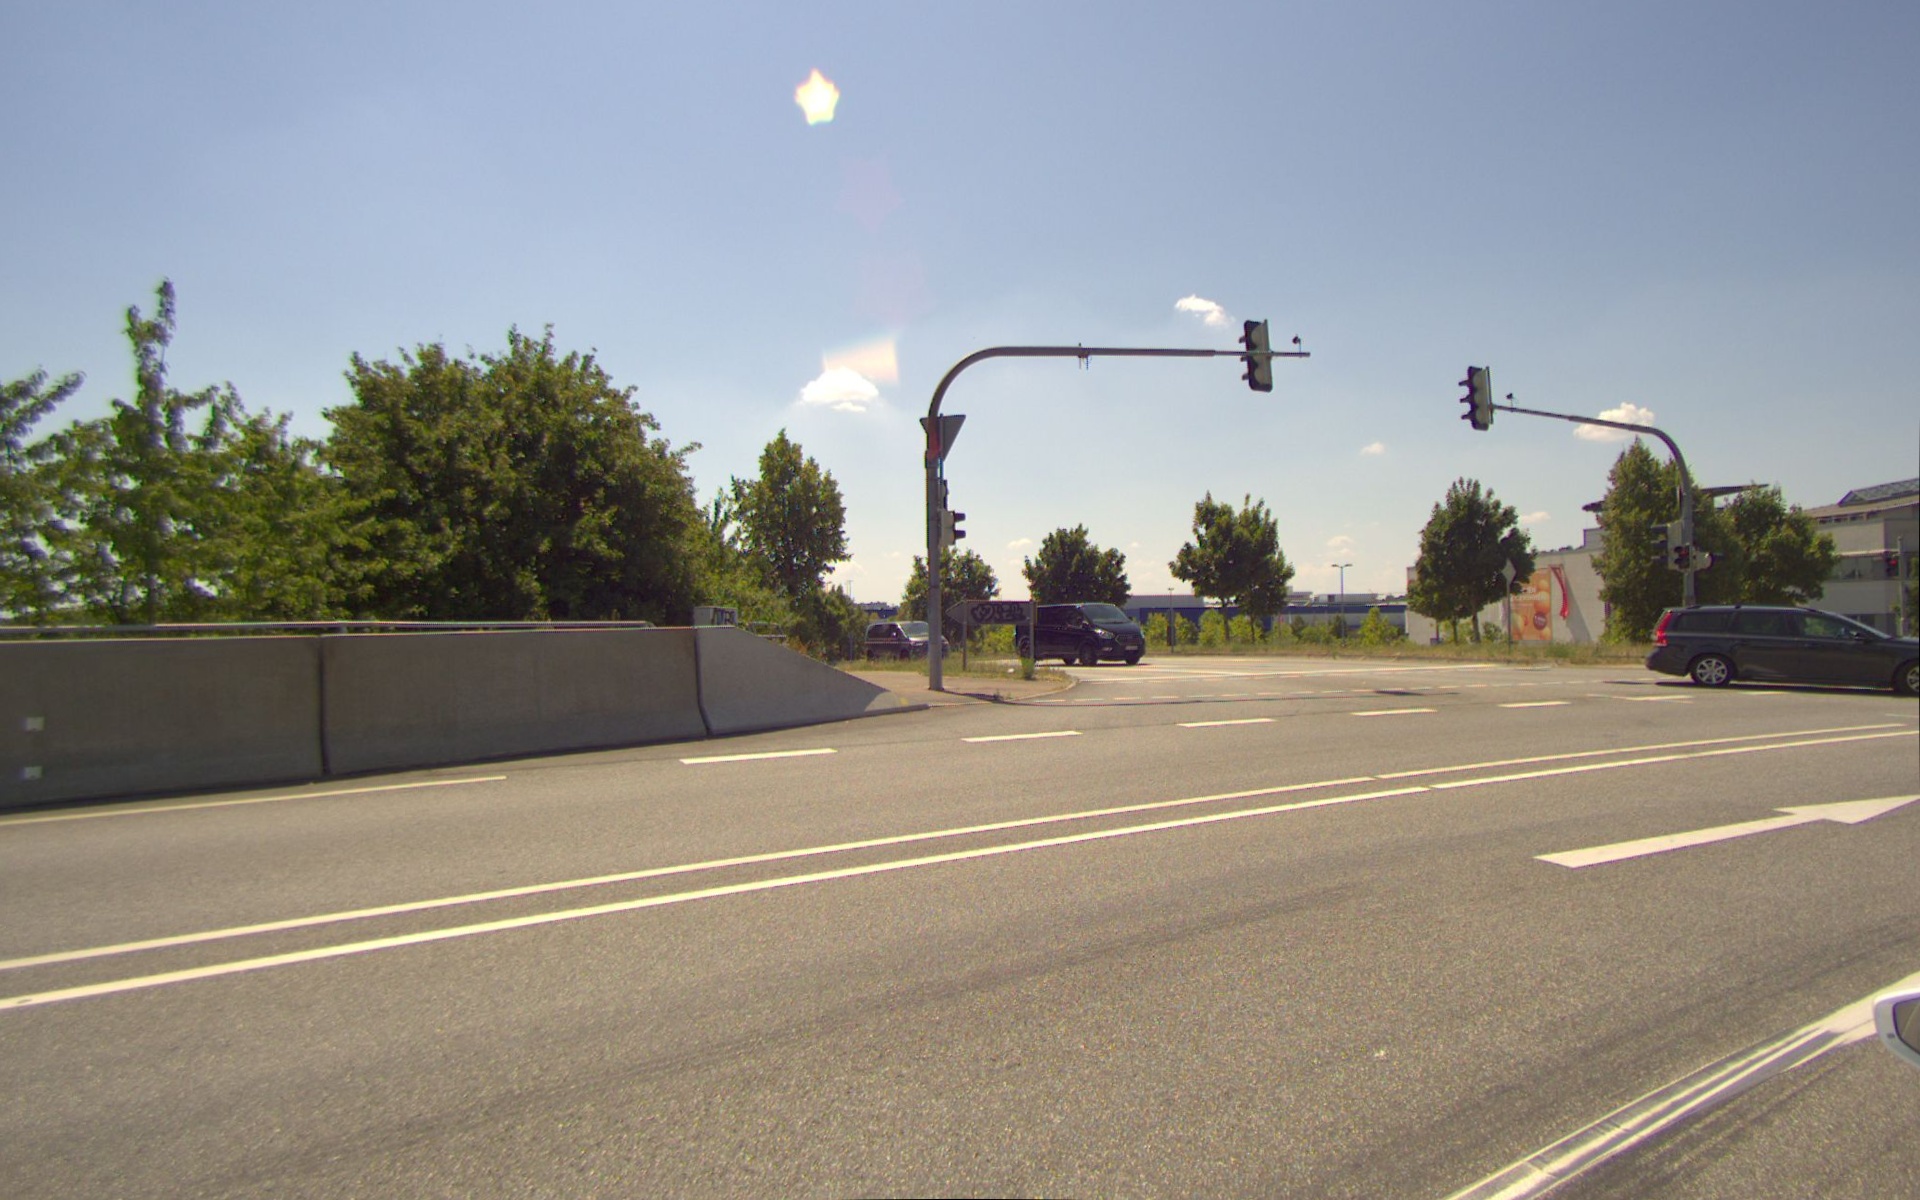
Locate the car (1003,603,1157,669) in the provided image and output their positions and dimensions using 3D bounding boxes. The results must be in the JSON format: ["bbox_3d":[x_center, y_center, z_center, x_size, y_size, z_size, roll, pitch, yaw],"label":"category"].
[{"bbox_3d":[3.793,1.234,32.792,2.103,1.963,5.364,2,-4,-33],"label":"car"}]

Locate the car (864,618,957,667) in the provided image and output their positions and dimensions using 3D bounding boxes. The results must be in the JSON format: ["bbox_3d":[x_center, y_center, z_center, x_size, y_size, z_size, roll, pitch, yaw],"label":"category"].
[{"bbox_3d":[-2.123,1.788,41.943,1.924,1.944,4.493,1,-3,-33],"label":"car"}]

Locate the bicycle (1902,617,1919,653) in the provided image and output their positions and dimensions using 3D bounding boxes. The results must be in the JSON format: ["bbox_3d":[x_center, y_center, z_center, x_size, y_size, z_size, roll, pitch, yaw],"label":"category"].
[{"bbox_3d":[28.855,1.045,29.511,1.795,1.038,0.415,0,1,8],"label":"bicycle"}]

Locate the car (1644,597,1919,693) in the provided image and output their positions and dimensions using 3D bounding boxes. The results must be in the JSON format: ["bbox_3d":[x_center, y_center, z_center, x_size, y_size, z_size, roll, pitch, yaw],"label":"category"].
[{"bbox_3d":[15.065,0.761,17.964,4.657,1.566,1.731,0,-1,36],"label":"car"}]
